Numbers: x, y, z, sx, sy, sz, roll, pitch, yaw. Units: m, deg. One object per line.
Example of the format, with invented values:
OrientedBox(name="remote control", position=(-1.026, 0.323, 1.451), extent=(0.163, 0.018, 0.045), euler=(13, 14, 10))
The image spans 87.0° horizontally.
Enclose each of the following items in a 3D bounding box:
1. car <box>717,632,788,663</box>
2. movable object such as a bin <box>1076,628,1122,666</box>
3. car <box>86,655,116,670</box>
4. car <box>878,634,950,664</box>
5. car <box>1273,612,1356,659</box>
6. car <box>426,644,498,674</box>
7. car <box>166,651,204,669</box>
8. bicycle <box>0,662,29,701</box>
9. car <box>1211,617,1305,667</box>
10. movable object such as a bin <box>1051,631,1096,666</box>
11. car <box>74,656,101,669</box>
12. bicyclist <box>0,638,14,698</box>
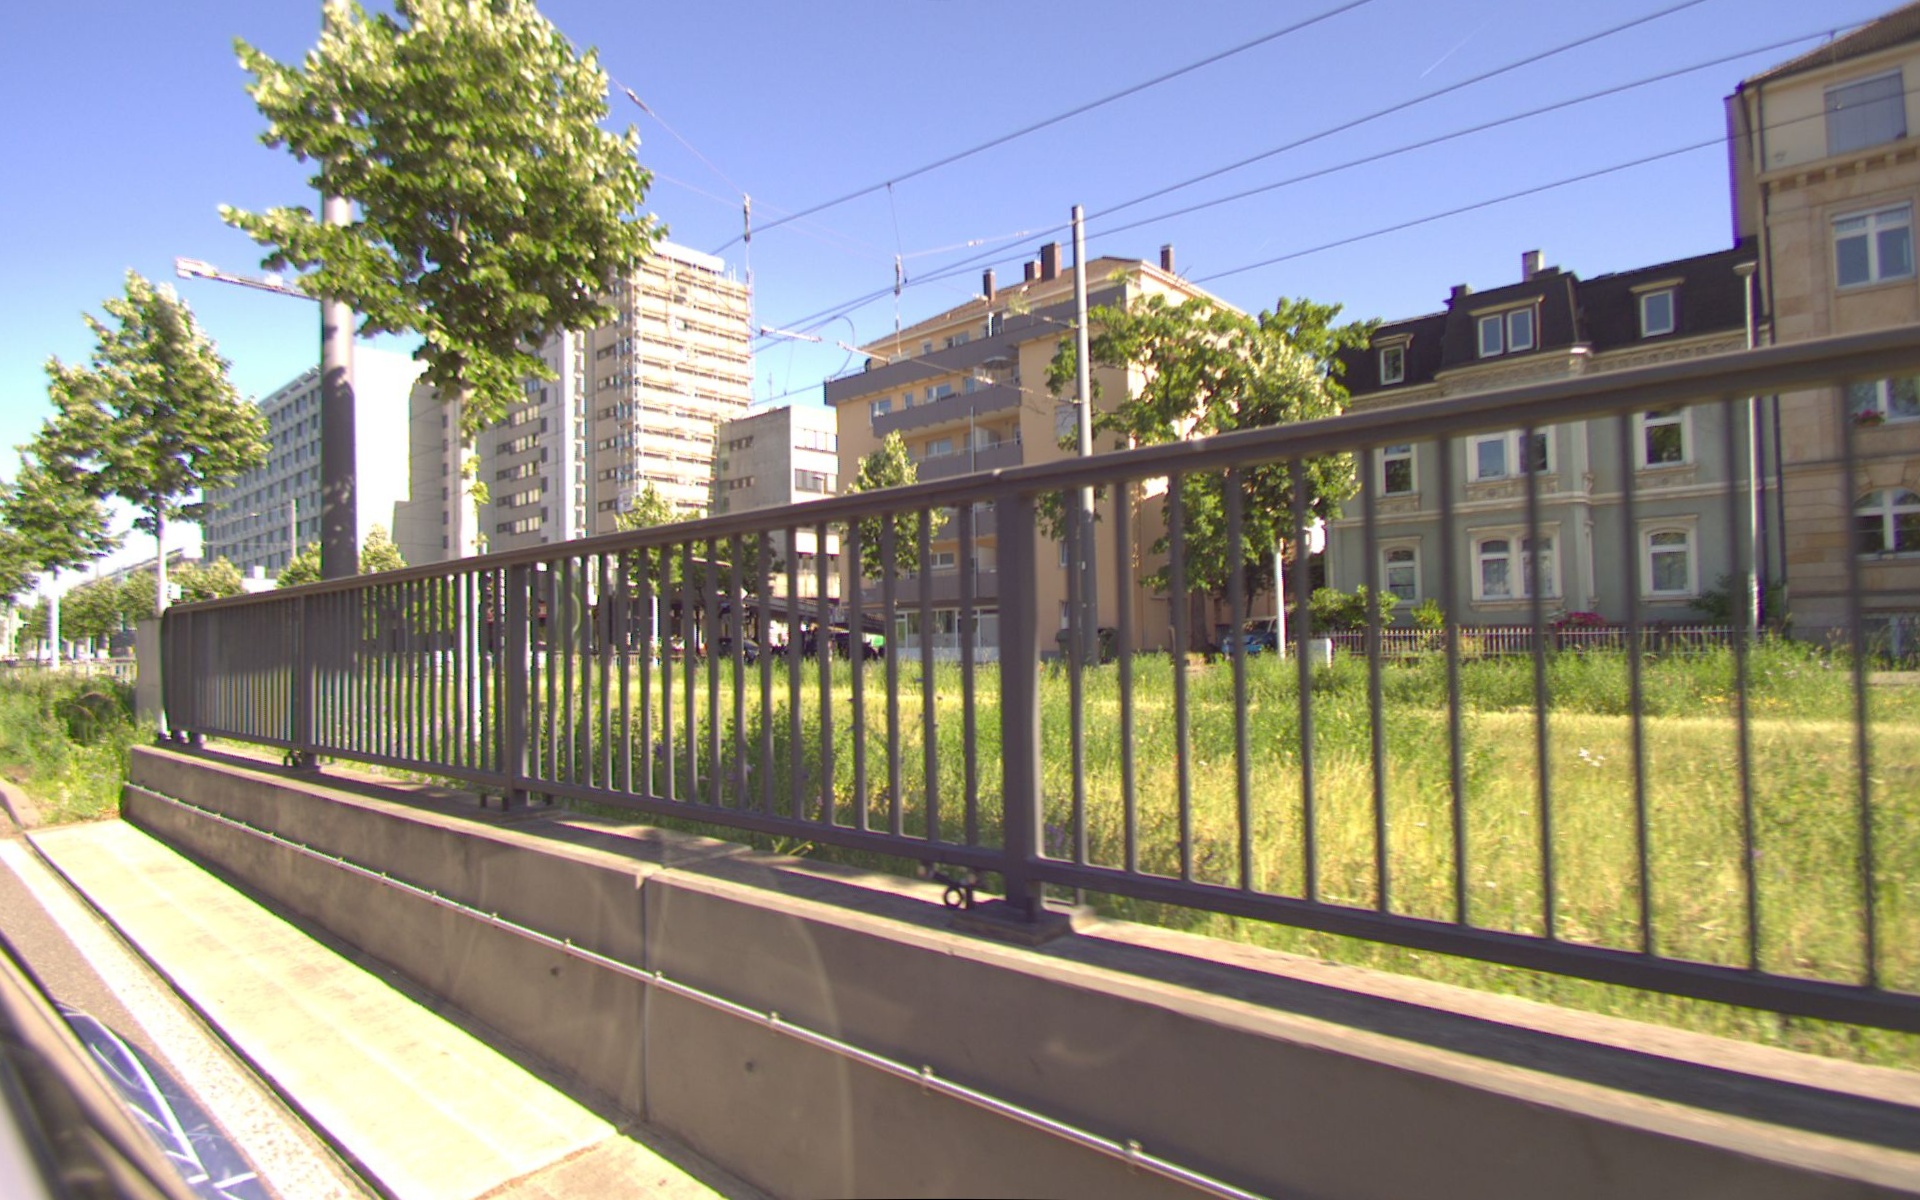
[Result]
OrientedBox(name="car", position=(-13.879, 3.185, 67.510), extent=(4.643, 1.934, 1.991), euler=(-3, -3, 34))
OrientedBox(name="movable object such as a bin", position=(5.552, 1.865, 40.411), extent=(1.327, 1.410, 1.249), euler=(-3, -1, 45))
OrientedBox(name="car", position=(-96.766, 7.013, 113.996), extent=(4.591, 1.582, 1.889), euler=(-3, -3, 41))
OrientedBox(name="car", position=(-2.890, 3.099, 64.387), extent=(2.013, 1.793, 4.592), euler=(-3, -3, 41))
OrientedBox(name="car", position=(14.491, 1.416, 41.313), extent=(1.914, 1.806, 3.947), euler=(-3, -3, 39))
OrientedBox(name="car", position=(-27.366, 3.249, 55.577), extent=(4.652, 1.514, 1.889), euler=(-3, -3, 41))
OrientedBox(name="car", position=(-72.729, 5.669, 94.972), extent=(4.591, 1.582, 1.889), euler=(-3, -3, 41))
OrientedBox(name="bicycle", position=(-27.597, 2.300, 28.665), extent=(1.959, 1.064, 0.723), euler=(-1, -1, 8))
OrientedBox(name="car", position=(11.075, 1.533, 37.499), extent=(1.914, 1.740, 3.947), euler=(-3, -3, 39))
OrientedBox(name="movable object such as a bin", position=(4.685, 1.999, 41.692), extent=(1.326, 1.381, 1.250), euler=(-3, -3, 42))
OrientedBox(name="car", position=(-110.622, 7.932, 128.311), extent=(4.591, 1.582, 1.889), euler=(-3, -3, 41))
OrientedBox(name="bicyclist", position=(-27.599, 1.928, 28.673), extent=(0.810, 1.699, 0.857), euler=(-2, -2, 7))
